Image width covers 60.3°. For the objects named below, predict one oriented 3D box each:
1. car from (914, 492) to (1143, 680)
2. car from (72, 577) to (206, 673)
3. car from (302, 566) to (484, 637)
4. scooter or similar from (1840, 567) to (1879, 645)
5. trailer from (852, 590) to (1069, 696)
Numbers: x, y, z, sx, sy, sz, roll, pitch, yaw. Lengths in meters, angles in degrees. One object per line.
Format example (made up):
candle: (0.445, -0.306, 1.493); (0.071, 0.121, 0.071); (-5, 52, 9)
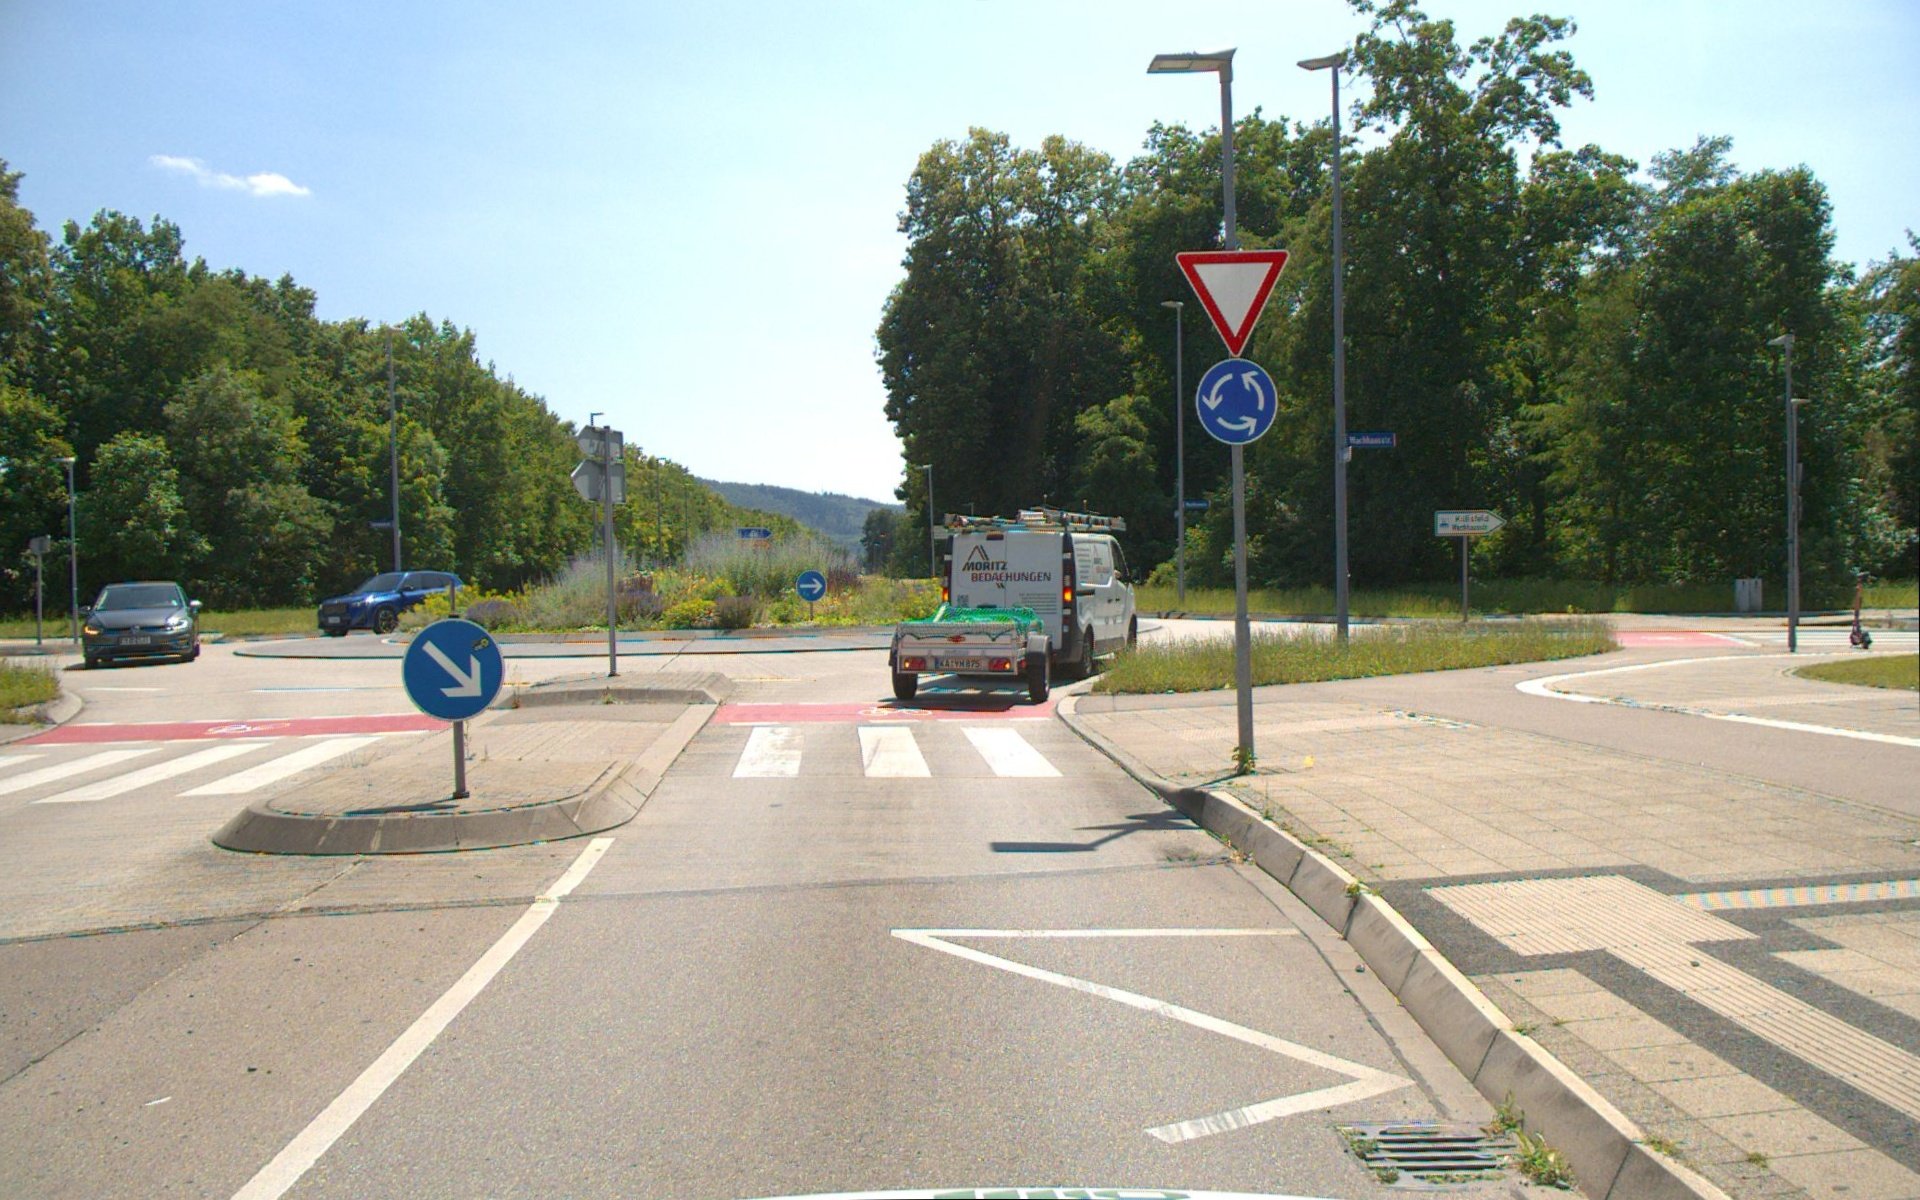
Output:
car: (1.111, -0.189, 23.346); (2.120, 2.357, 4.985); (0, 0, 16)
car: (-14.764, 0.402, 29.928); (1.969, 1.504, 4.255); (-3, 2, -25)
car: (-14.920, 0.005, 43.725); (1.956, 1.623, 4.316); (-1, 3, 29)
scooter or similar: (14.476, 0.084, 26.633); (0.437, 1.222, 1.398); (0, 0, 24)
trailer: (0.105, 0.455, 19.450); (2.076, 1.116, 3.357); (0, 0, 8)
